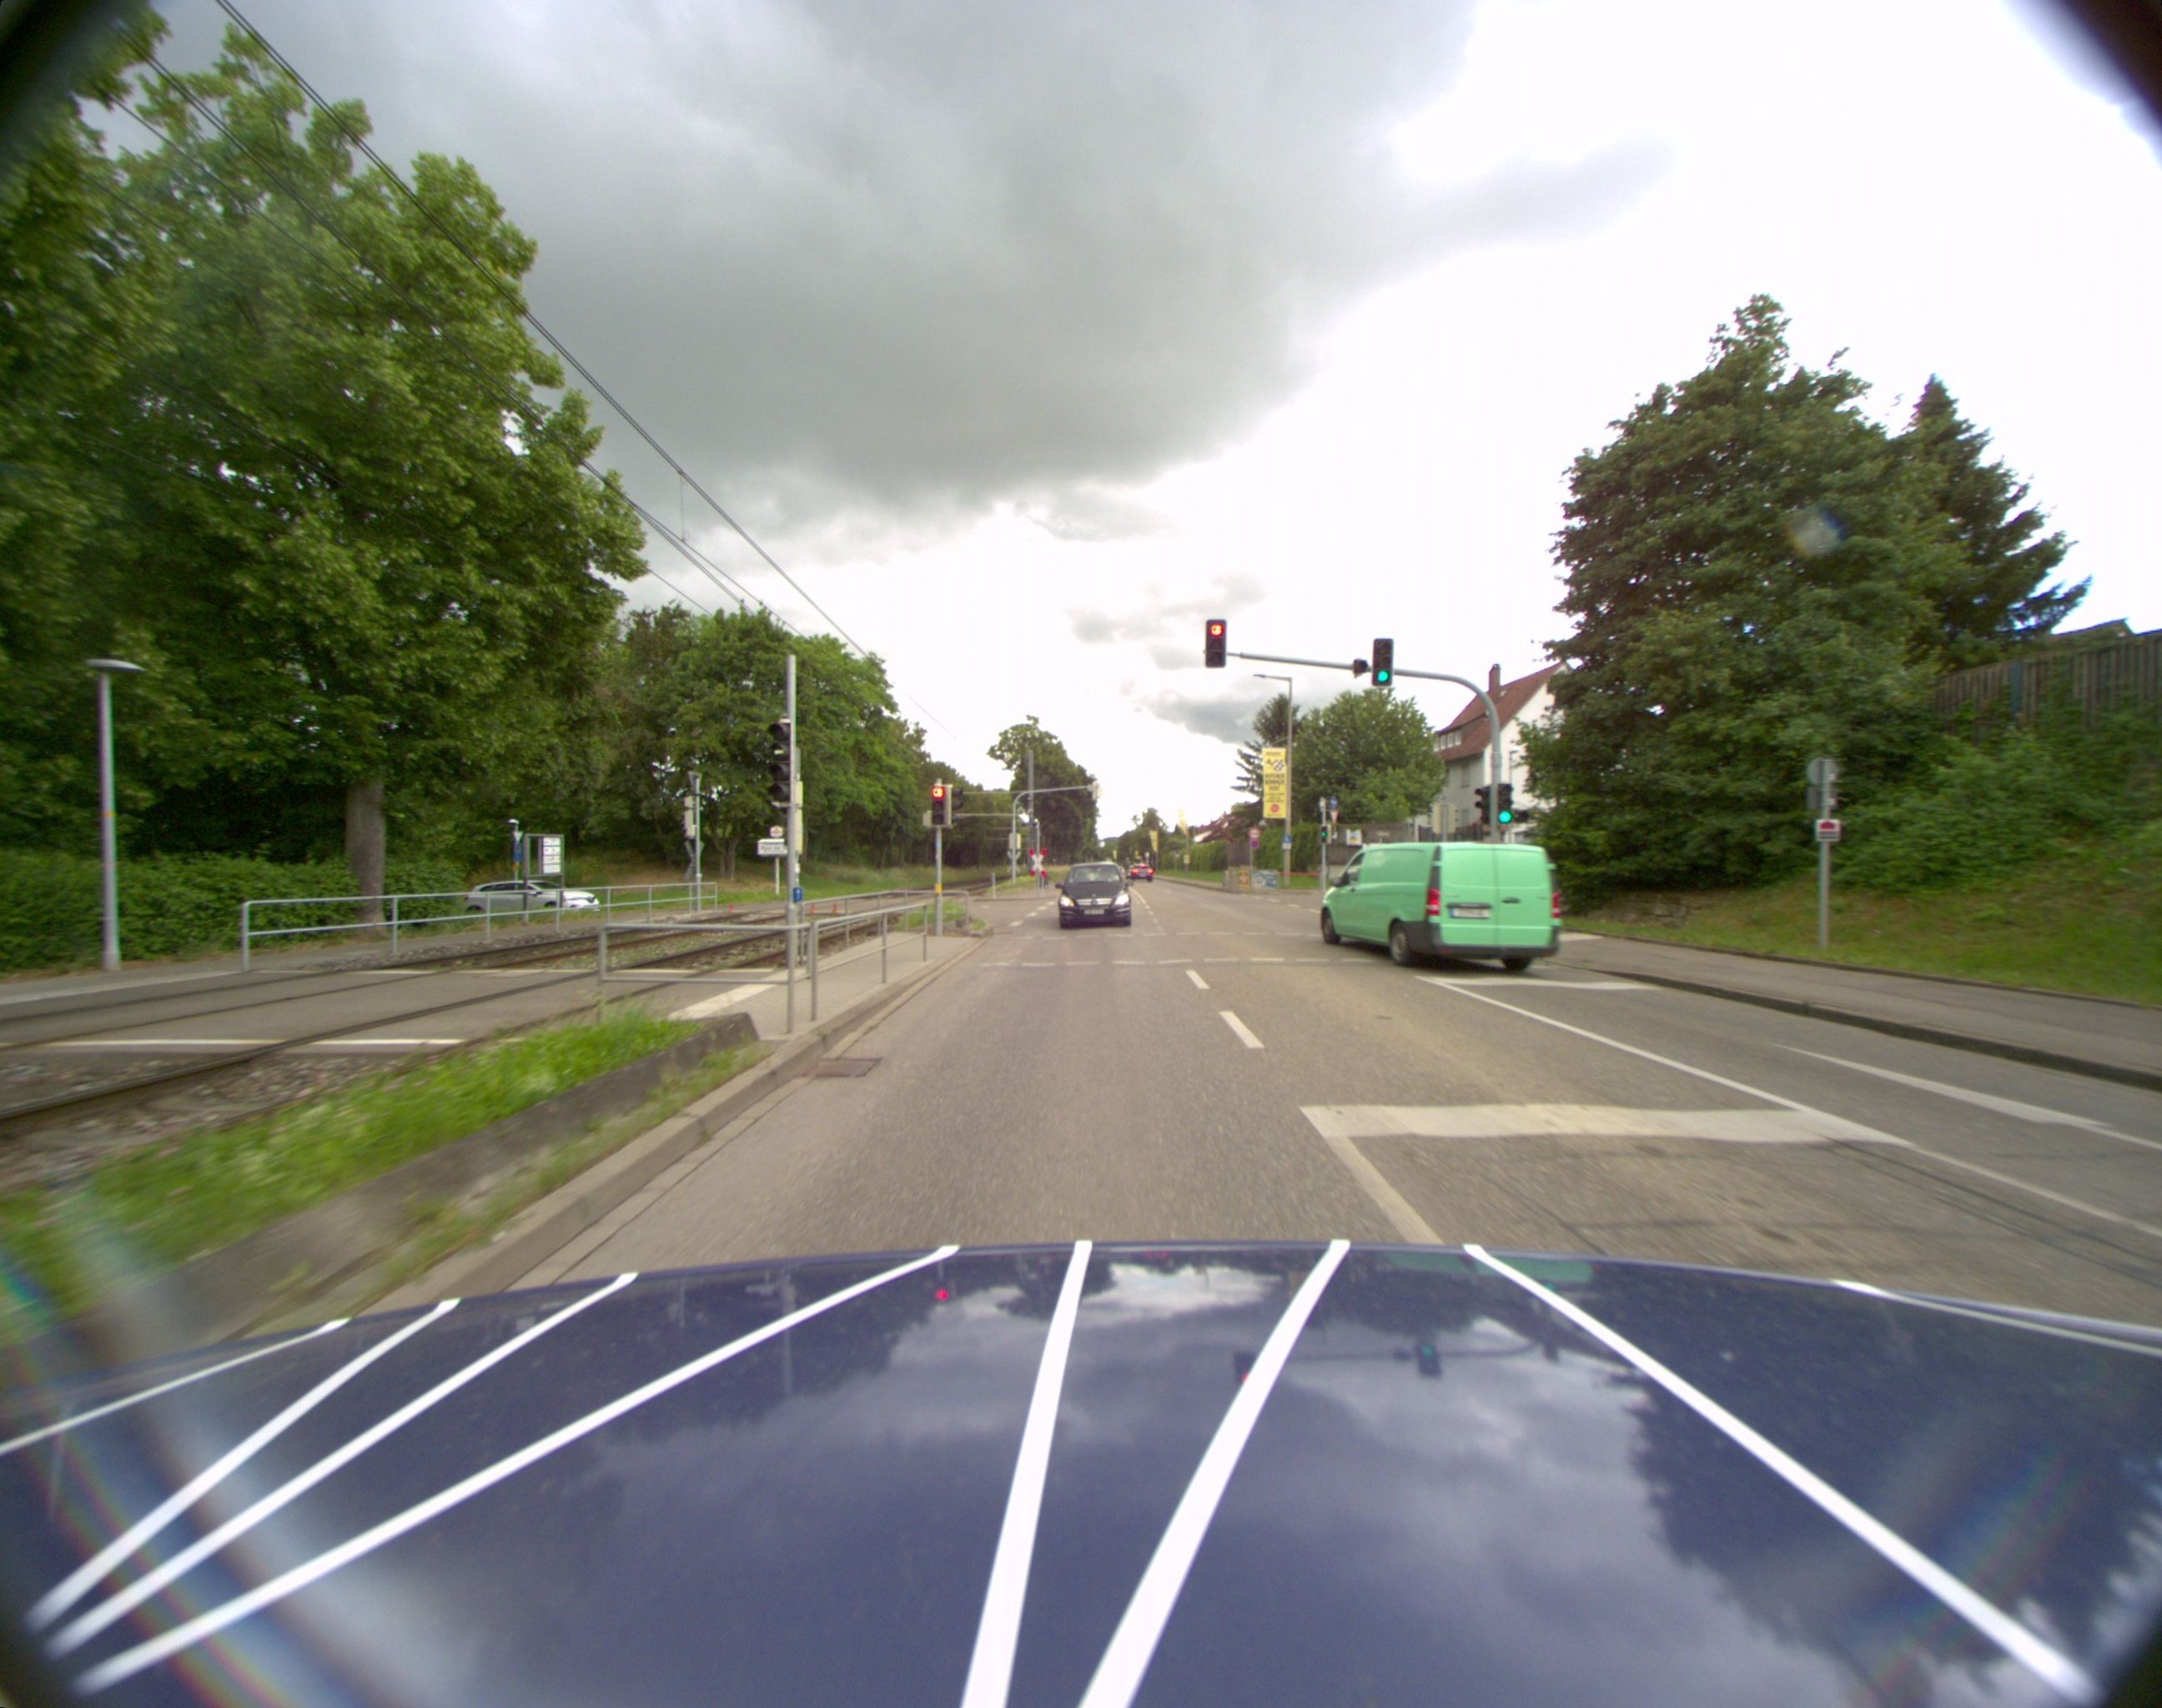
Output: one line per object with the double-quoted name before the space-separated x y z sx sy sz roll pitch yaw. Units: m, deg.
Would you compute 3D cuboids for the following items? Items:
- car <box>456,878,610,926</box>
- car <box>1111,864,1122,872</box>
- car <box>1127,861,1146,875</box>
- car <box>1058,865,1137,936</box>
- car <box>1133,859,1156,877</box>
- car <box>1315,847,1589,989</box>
"car" -19.060 1.651 26.556 3.997 1.376 1.785 -3 0 -2
"car" 6.946 2.729 148.302 1.904 1.569 4.122 1 -1 1
"car" 6.124 1.590 84.808 1.880 1.501 4.208 1 -1 1
"car" 0.385 1.064 18.930 1.749 1.558 4.122 -1 -1 0
"car" 5.989 1.316 72.163 1.904 1.569 4.279 1 0 1
"car" 5.581 0.845 12.291 2.064 1.799 4.729 2 0 0
